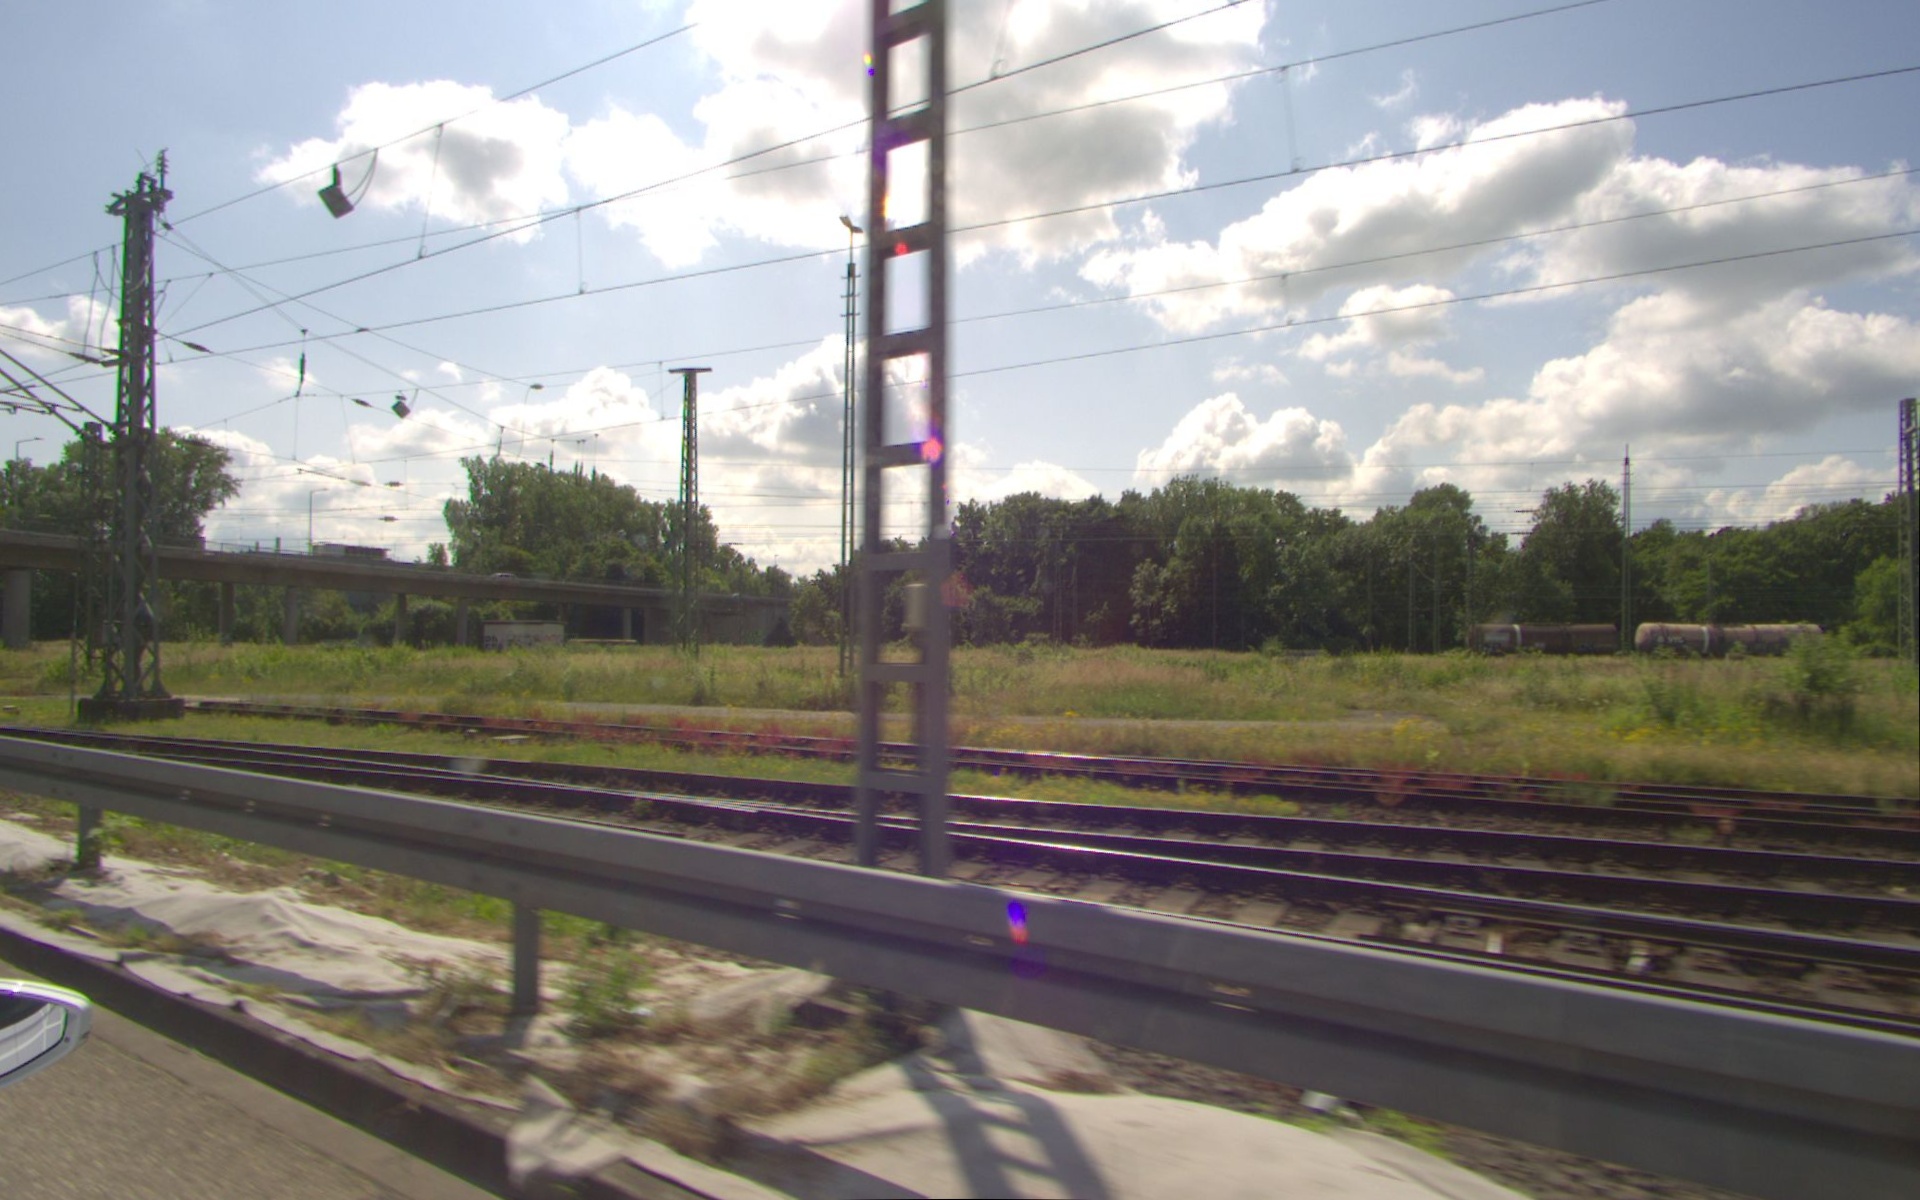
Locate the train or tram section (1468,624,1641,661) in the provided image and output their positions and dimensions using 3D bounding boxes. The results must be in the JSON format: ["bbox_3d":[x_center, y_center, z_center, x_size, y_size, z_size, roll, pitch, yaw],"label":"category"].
[{"bbox_3d":[55.424,3.981,93.803,13.676,3.346,3.034,0,-2,11],"label":"train or tram section"}]

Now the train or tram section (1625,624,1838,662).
[{"bbox_3d":[69.741,3.895,90.924,15.462,3.346,3.034,0,-2,11],"label":"train or tram section"}]
